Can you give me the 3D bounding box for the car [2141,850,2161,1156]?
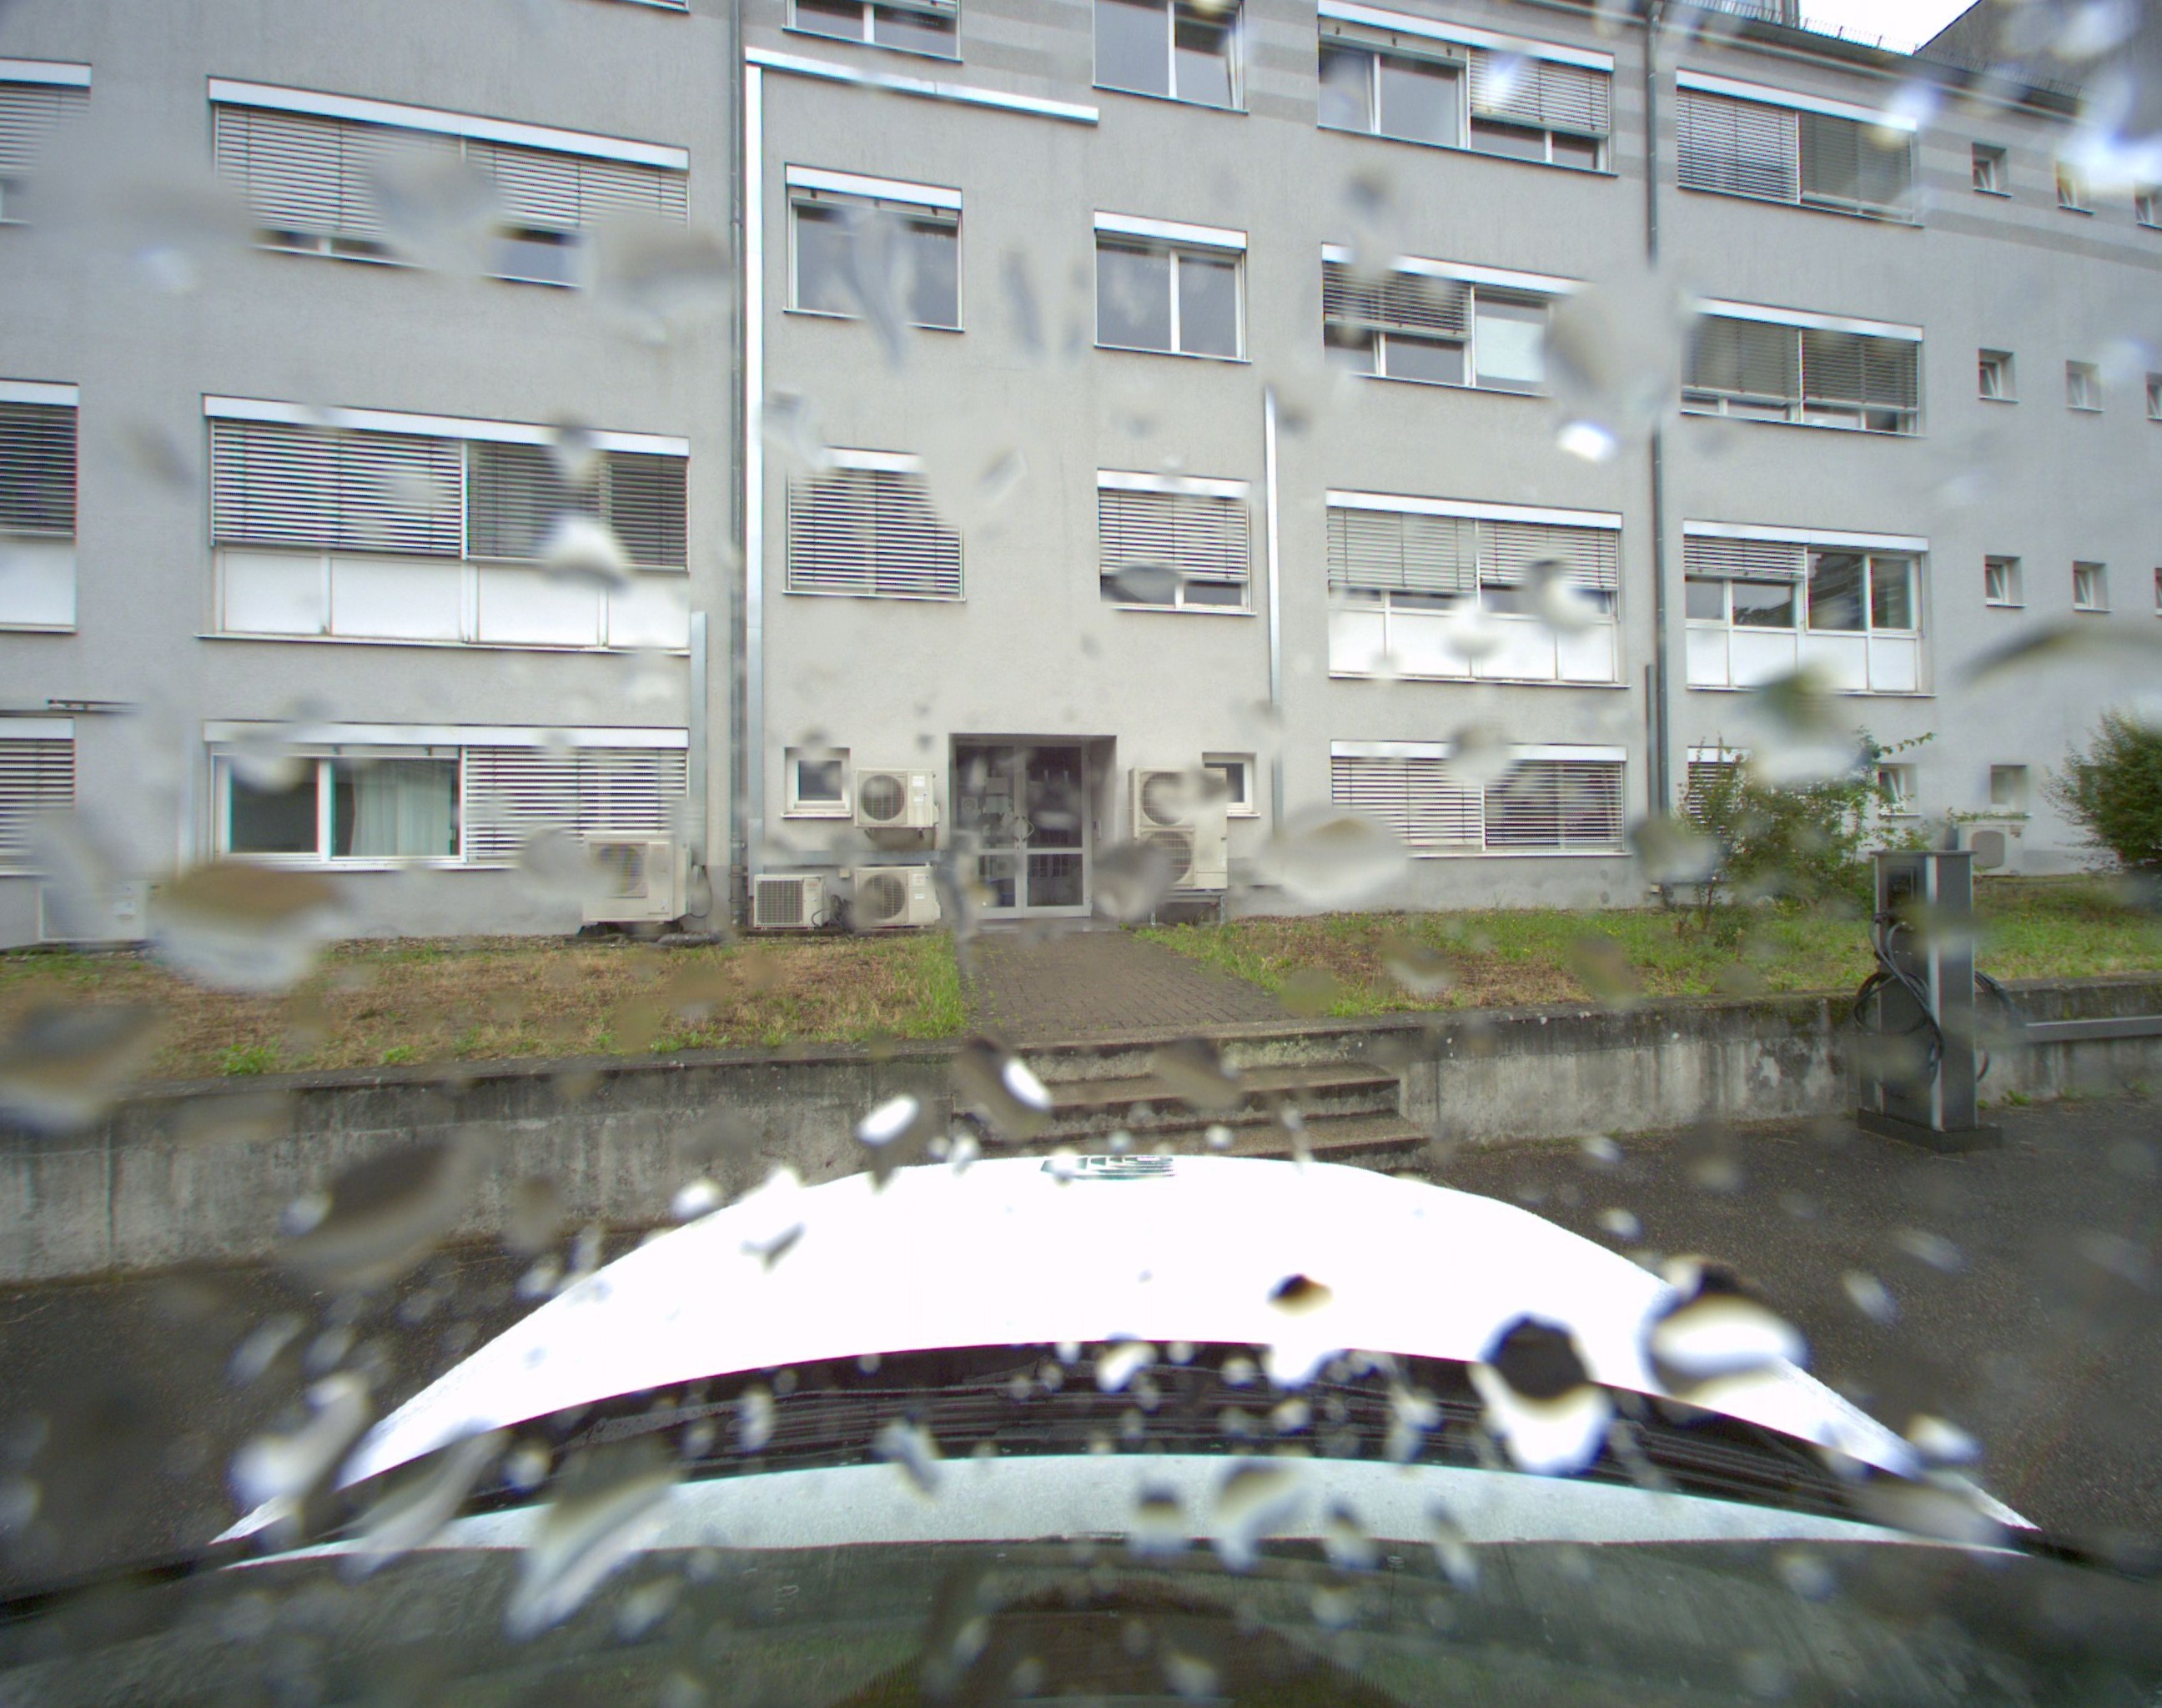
[{"bbox_3d":[6.512,0.692,2.079,1.992,1.490,4.209,0,-1,-8],"label":"car"}]
